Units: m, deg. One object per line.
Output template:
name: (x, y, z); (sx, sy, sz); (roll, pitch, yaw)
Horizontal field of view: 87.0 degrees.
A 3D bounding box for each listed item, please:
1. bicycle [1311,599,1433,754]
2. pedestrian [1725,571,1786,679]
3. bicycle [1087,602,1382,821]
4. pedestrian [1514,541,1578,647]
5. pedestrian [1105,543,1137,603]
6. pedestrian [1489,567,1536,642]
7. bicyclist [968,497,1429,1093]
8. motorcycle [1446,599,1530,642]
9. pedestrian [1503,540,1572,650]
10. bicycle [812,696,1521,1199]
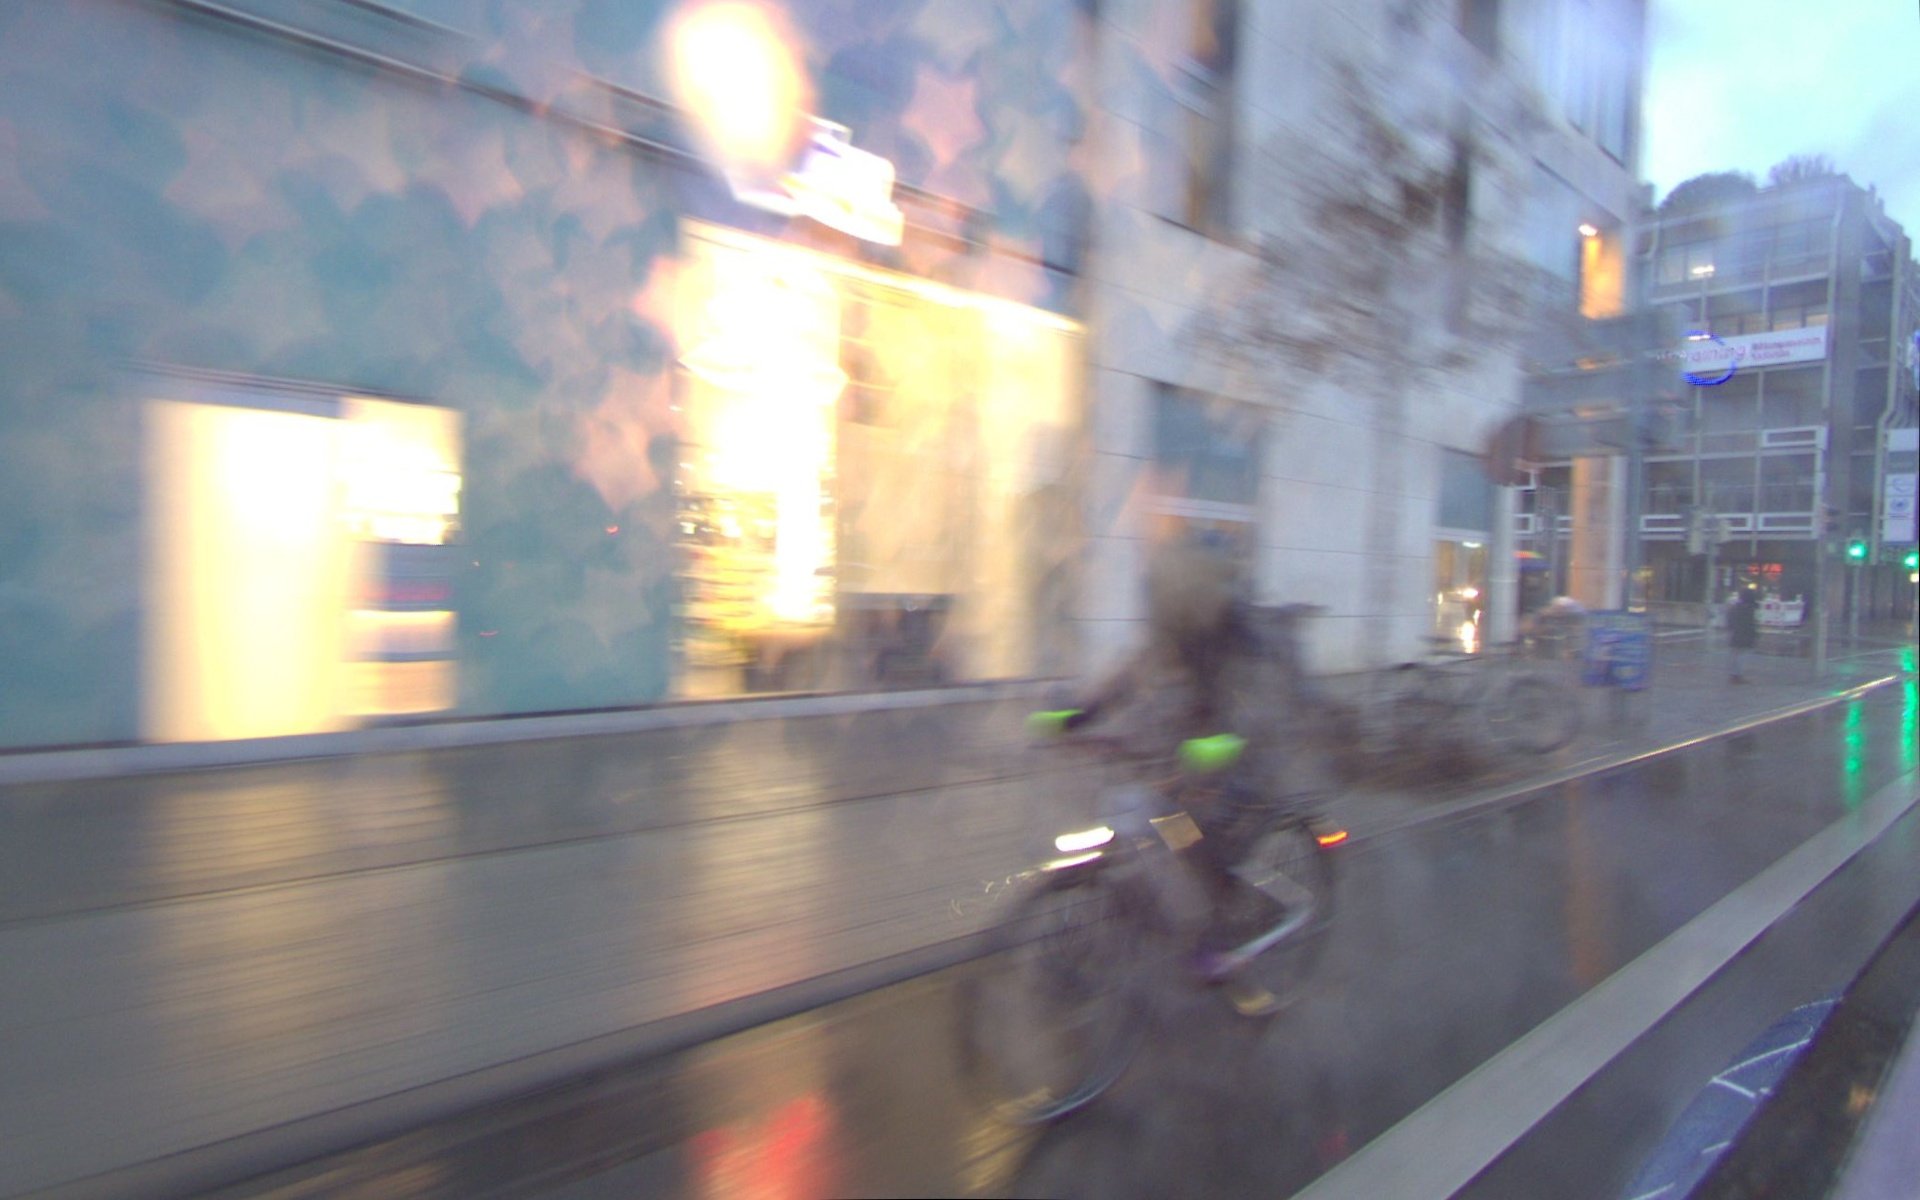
bicycle: (3.808, 0.656, 9.481); (0.655, 1.277, 1.556); (1, 1, 7)
pedestrian: (13.265, 0.402, 16.884); (0.704, 1.715, 0.714); (4, 3, 39)
bicycle: (1.826, 0.674, 7.023); (0.655, 1.189, 1.908); (0, 3, -40)
pedestrian: (12.362, -0.140, 21.358); (0.569, 2.188, 0.969); (1, 1, -28)
pedestrian: (5.264, -0.879, 33.100); (0.825, 1.932, 0.628); (1, 0, -7)
pedestrian: (12.361, 0.091, 22.647); (0.492, 1.628, 0.779); (1, 0, -39)
bicyclist: (0.731, 0.472, 3.199); (1.046, 1.481, 0.946); (0, 1, -35)
motorcycle: (11.786, 0.441, 22.616); (0.387, 0.901, 1.636); (1, 1, -38)
pedestrian: (11.880, -0.114, 20.840); (0.696, 2.219, 0.963); (1, 1, -28)
bicycle: (0.736, 0.919, 3.214); (2.197, 1.012, 0.946); (0, 1, -35)
